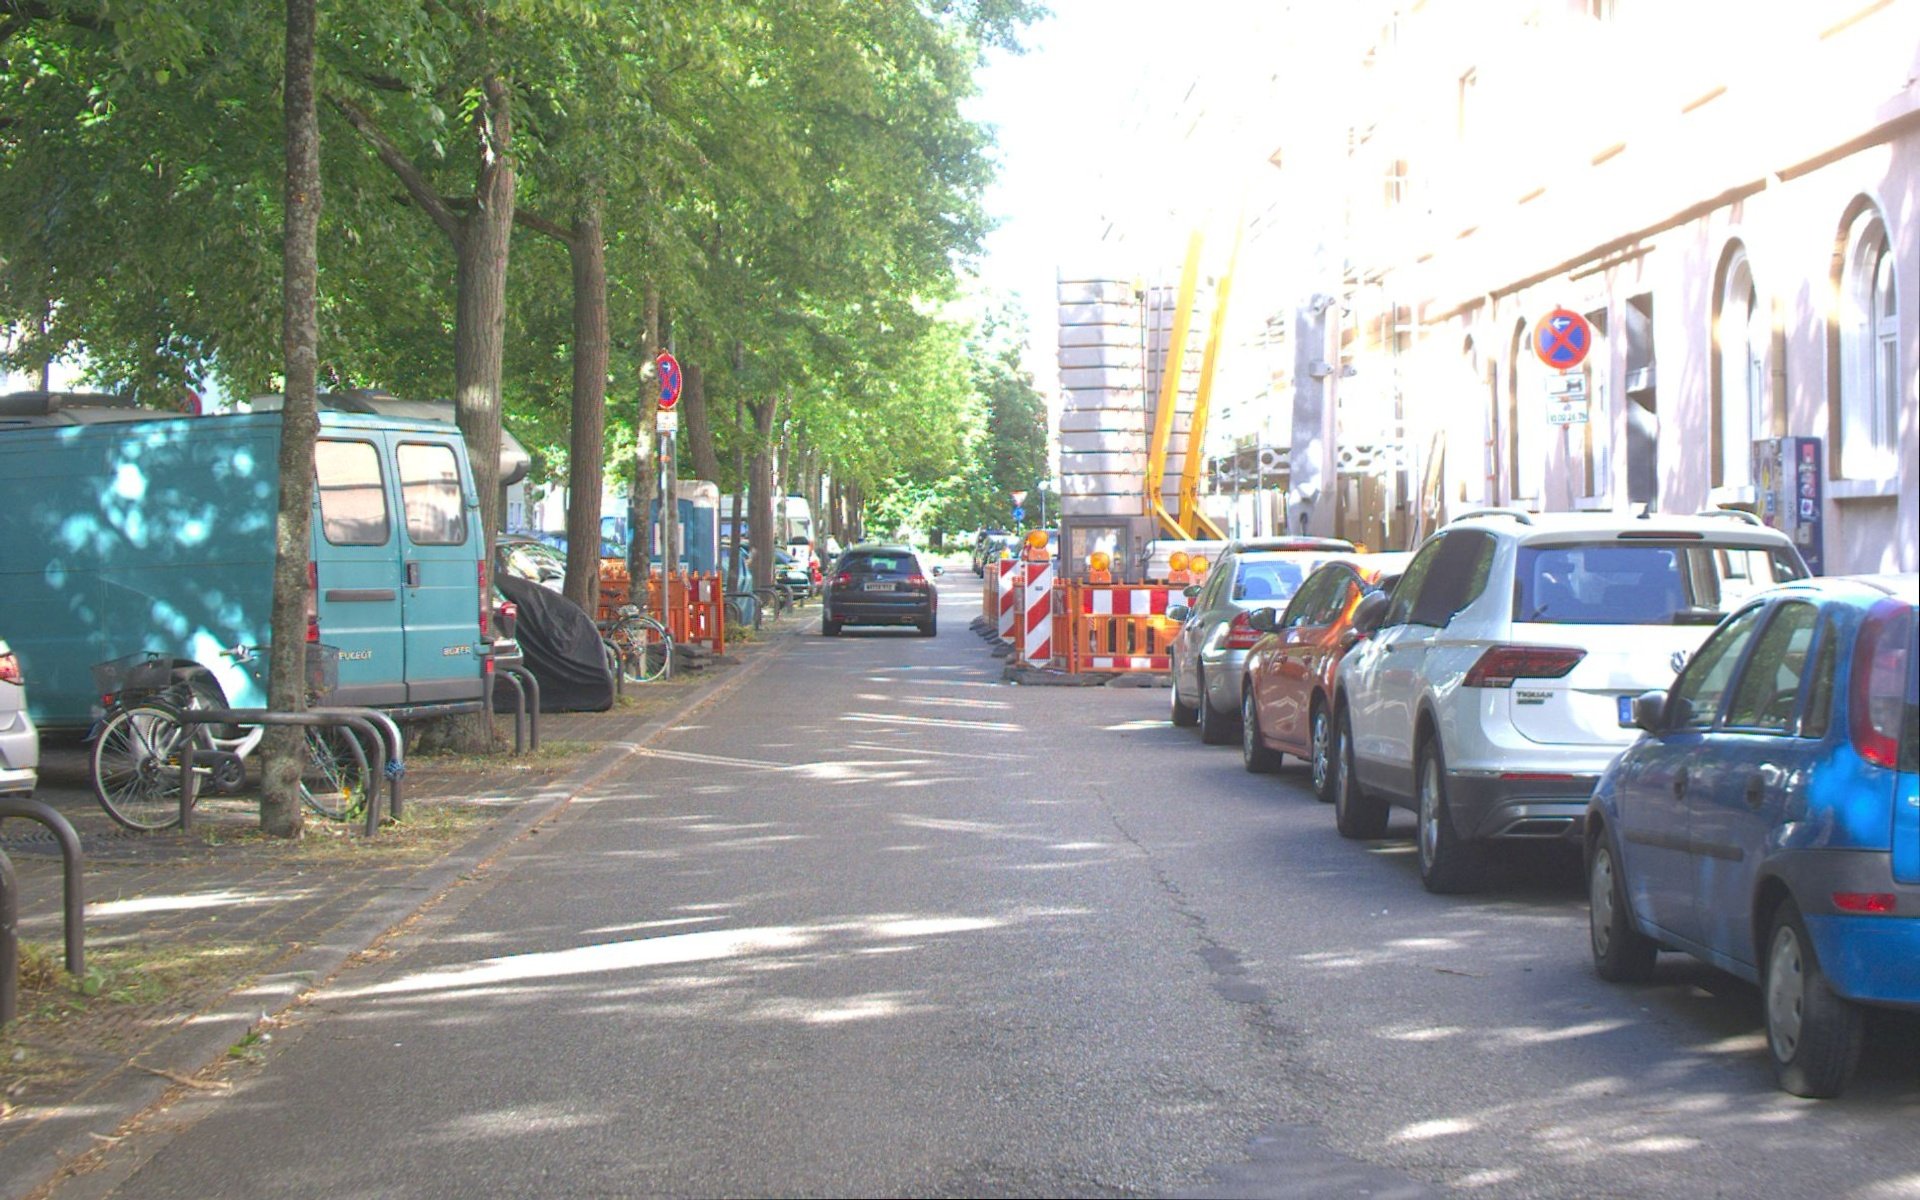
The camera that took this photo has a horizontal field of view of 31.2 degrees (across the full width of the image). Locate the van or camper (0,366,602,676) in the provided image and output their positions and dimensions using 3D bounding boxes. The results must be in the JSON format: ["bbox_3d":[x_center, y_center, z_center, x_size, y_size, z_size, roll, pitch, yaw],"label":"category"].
[{"bbox_3d":[-7.514,-0.846,38.486,6.666,3.229,2.492,0,1,28],"label":"van or camper"}]

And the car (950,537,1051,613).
[{"bbox_3d":[0.758,-0.497,66.559,1.797,1.380,3.586,-1,1,-2],"label":"car"}]

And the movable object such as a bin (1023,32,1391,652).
[{"bbox_3d":[2.827,-2.836,39.340,3.485,6.736,2.364,1,1,32],"label":"movable object such as a bin"}]

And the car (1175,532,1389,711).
[{"bbox_3d":[2.864,0.159,31.012,1.591,1.525,2.781,0,1,-2],"label":"car"}]

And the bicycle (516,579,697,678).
[{"bbox_3d":[-3.688,0.288,35.797,1.899,1.003,0.430,0,1,23],"label":"bicycle"}]

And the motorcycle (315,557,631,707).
[{"bbox_3d":[-4.148,0.269,29.345,2.550,1.254,0.763,0,1,8],"label":"motorcycle"}]

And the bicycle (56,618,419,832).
[{"bbox_3d":[-3.661,0.616,17.482,1.719,1.002,0.512,-1,1,-30],"label":"bicycle"}]

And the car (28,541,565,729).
[{"bbox_3d":[-5.361,0.247,27.747,3.959,1.409,1.820,0,1,27],"label":"car"}]

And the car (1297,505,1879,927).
[{"bbox_3d":[2.736,0.410,16.038,1.816,1.668,4.674,0,1,0],"label":"car"}]

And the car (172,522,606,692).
[{"bbox_3d":[-5.739,0.042,34.541,3.958,1.623,1.821,0,1,25],"label":"car"}]

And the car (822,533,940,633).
[{"bbox_3d":[-1.277,-0.300,55.077,1.797,1.498,3.586,-1,1,-2],"label":"car"}]

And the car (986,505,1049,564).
[{"bbox_3d":[1.783,-2.070,107.714,1.797,1.794,3.586,-1,1,-2],"label":"car"}]

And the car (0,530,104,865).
[{"bbox_3d":[-6.014,0.419,15.493,3.949,1.438,1.843,0,1,28],"label":"car"}]

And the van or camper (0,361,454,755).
[{"bbox_3d":[-6.806,-0.306,25.388,5.877,2.628,2.252,0,1,29],"label":"van or camper"}]

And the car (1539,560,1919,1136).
[{"bbox_3d":[2.931,0.606,10.607,1.617,1.408,3.788,0,1,0],"label":"car"}]

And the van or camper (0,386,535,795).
[{"bbox_3d":[-5.588,-0.069,21.146,5.504,2.267,2.218,0,1,23],"label":"van or camper"}]

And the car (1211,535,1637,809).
[{"bbox_3d":[2.771,0.368,21.395,1.790,1.518,3.965,0,1,-5],"label":"car"}]

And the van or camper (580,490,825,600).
[{"bbox_3d":[-6.017,-1.274,80.168,5.342,2.466,2.290,0,2,32],"label":"van or camper"}]

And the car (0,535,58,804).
[{"bbox_3d":[-7.056,0.370,18.915,3.993,1.426,1.719,0,1,30],"label":"car"}]

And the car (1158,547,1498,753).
[{"bbox_3d":[2.712,0.315,26.388,1.993,1.404,4.501,0,1,-2],"label":"car"}]

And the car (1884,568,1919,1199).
[{"bbox_3d":[2.892,0.676,5.425,1.630,1.408,4.089,0,1,-2],"label":"car"}]

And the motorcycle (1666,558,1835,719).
[{"bbox_3d":[6.148,0.277,26.832,0.547,1.189,1.838,-1,1,-12],"label":"motorcycle"}]

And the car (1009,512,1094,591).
[{"bbox_3d":[2.143,-1.164,81.283,1.797,1.794,3.586,-1,1,-2],"label":"car"}]
